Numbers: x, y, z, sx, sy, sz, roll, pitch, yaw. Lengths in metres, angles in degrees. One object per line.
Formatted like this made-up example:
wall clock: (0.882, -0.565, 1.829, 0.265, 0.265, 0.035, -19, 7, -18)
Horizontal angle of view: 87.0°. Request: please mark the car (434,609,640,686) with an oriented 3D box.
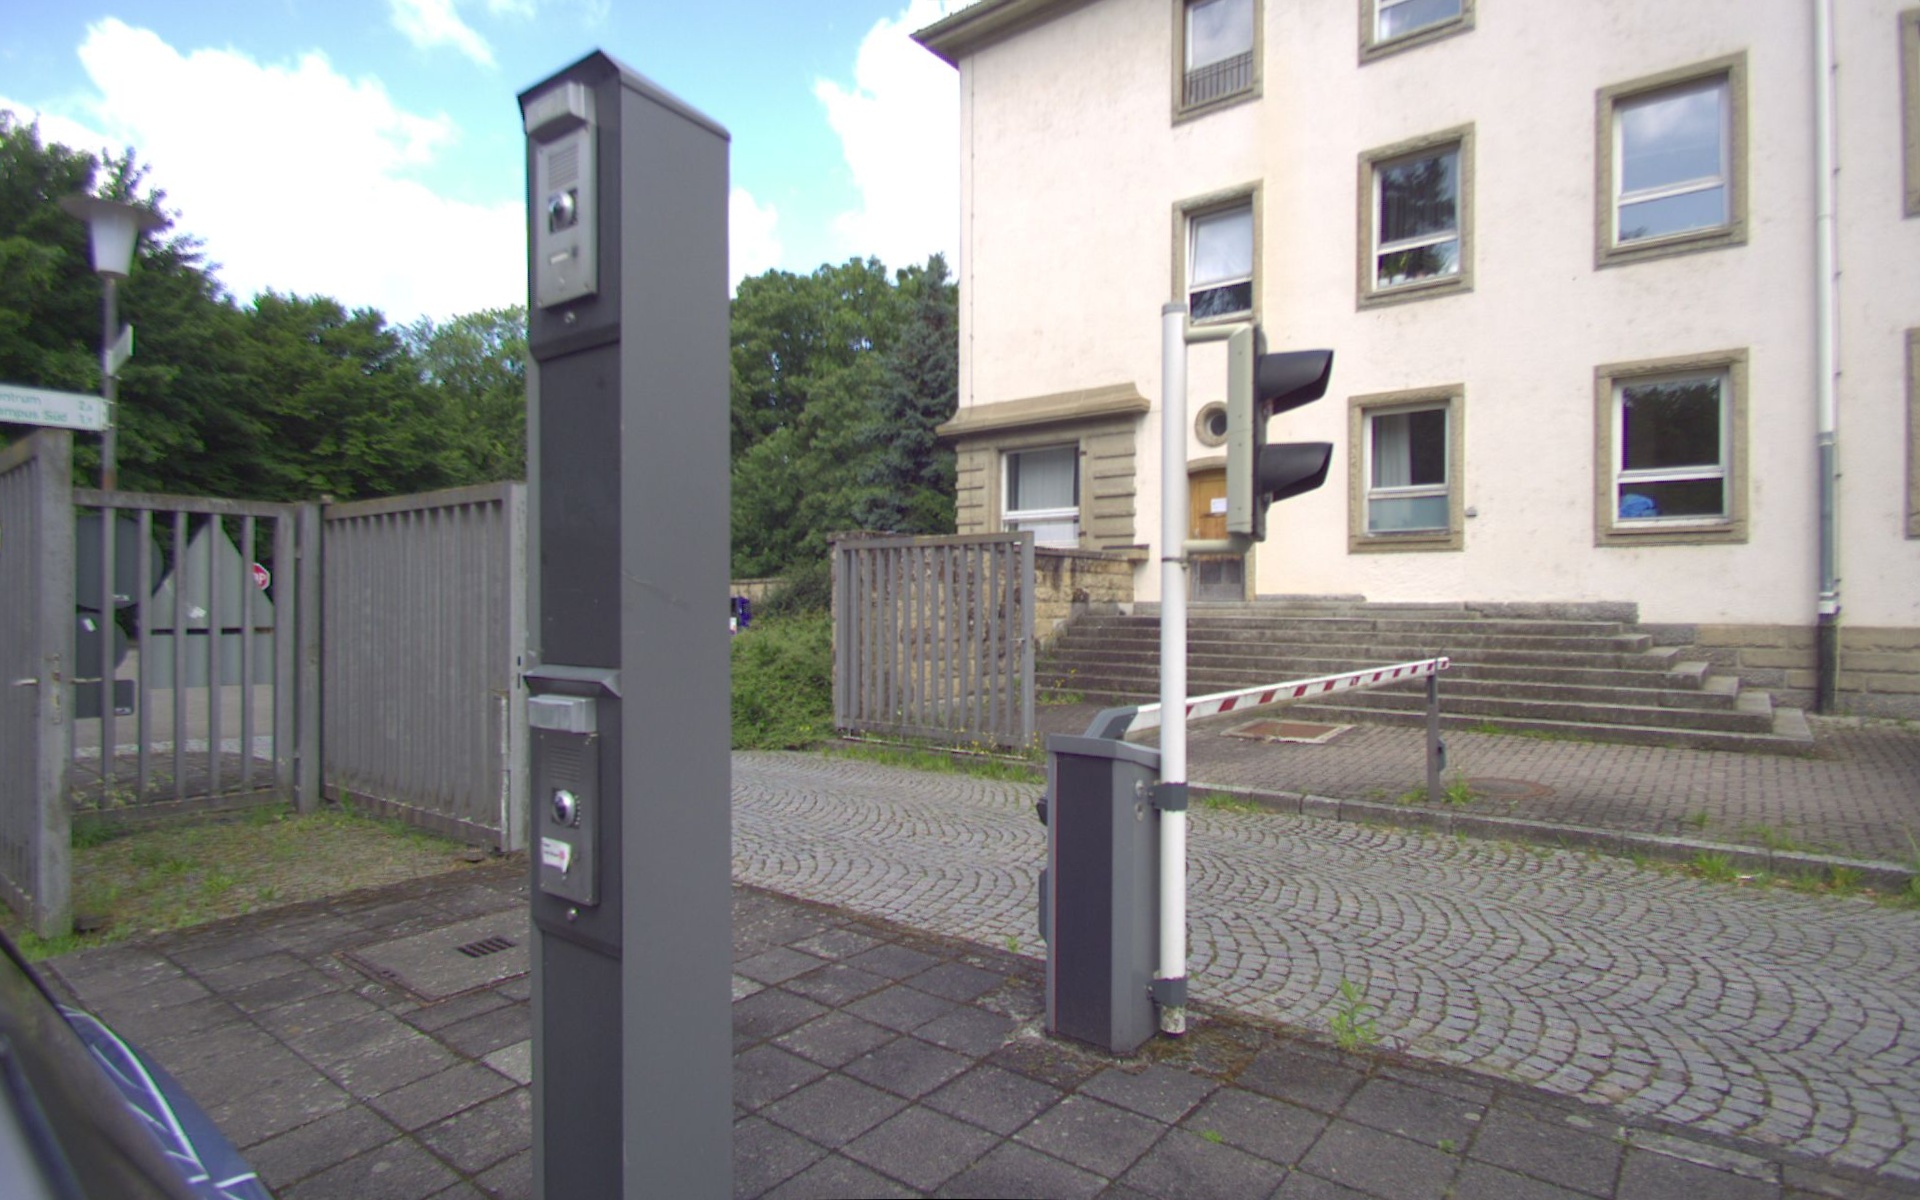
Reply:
car: (-9.523, 1.009, 22.995, 1.802, 1.529, 3.943, -1, 0, 43)
